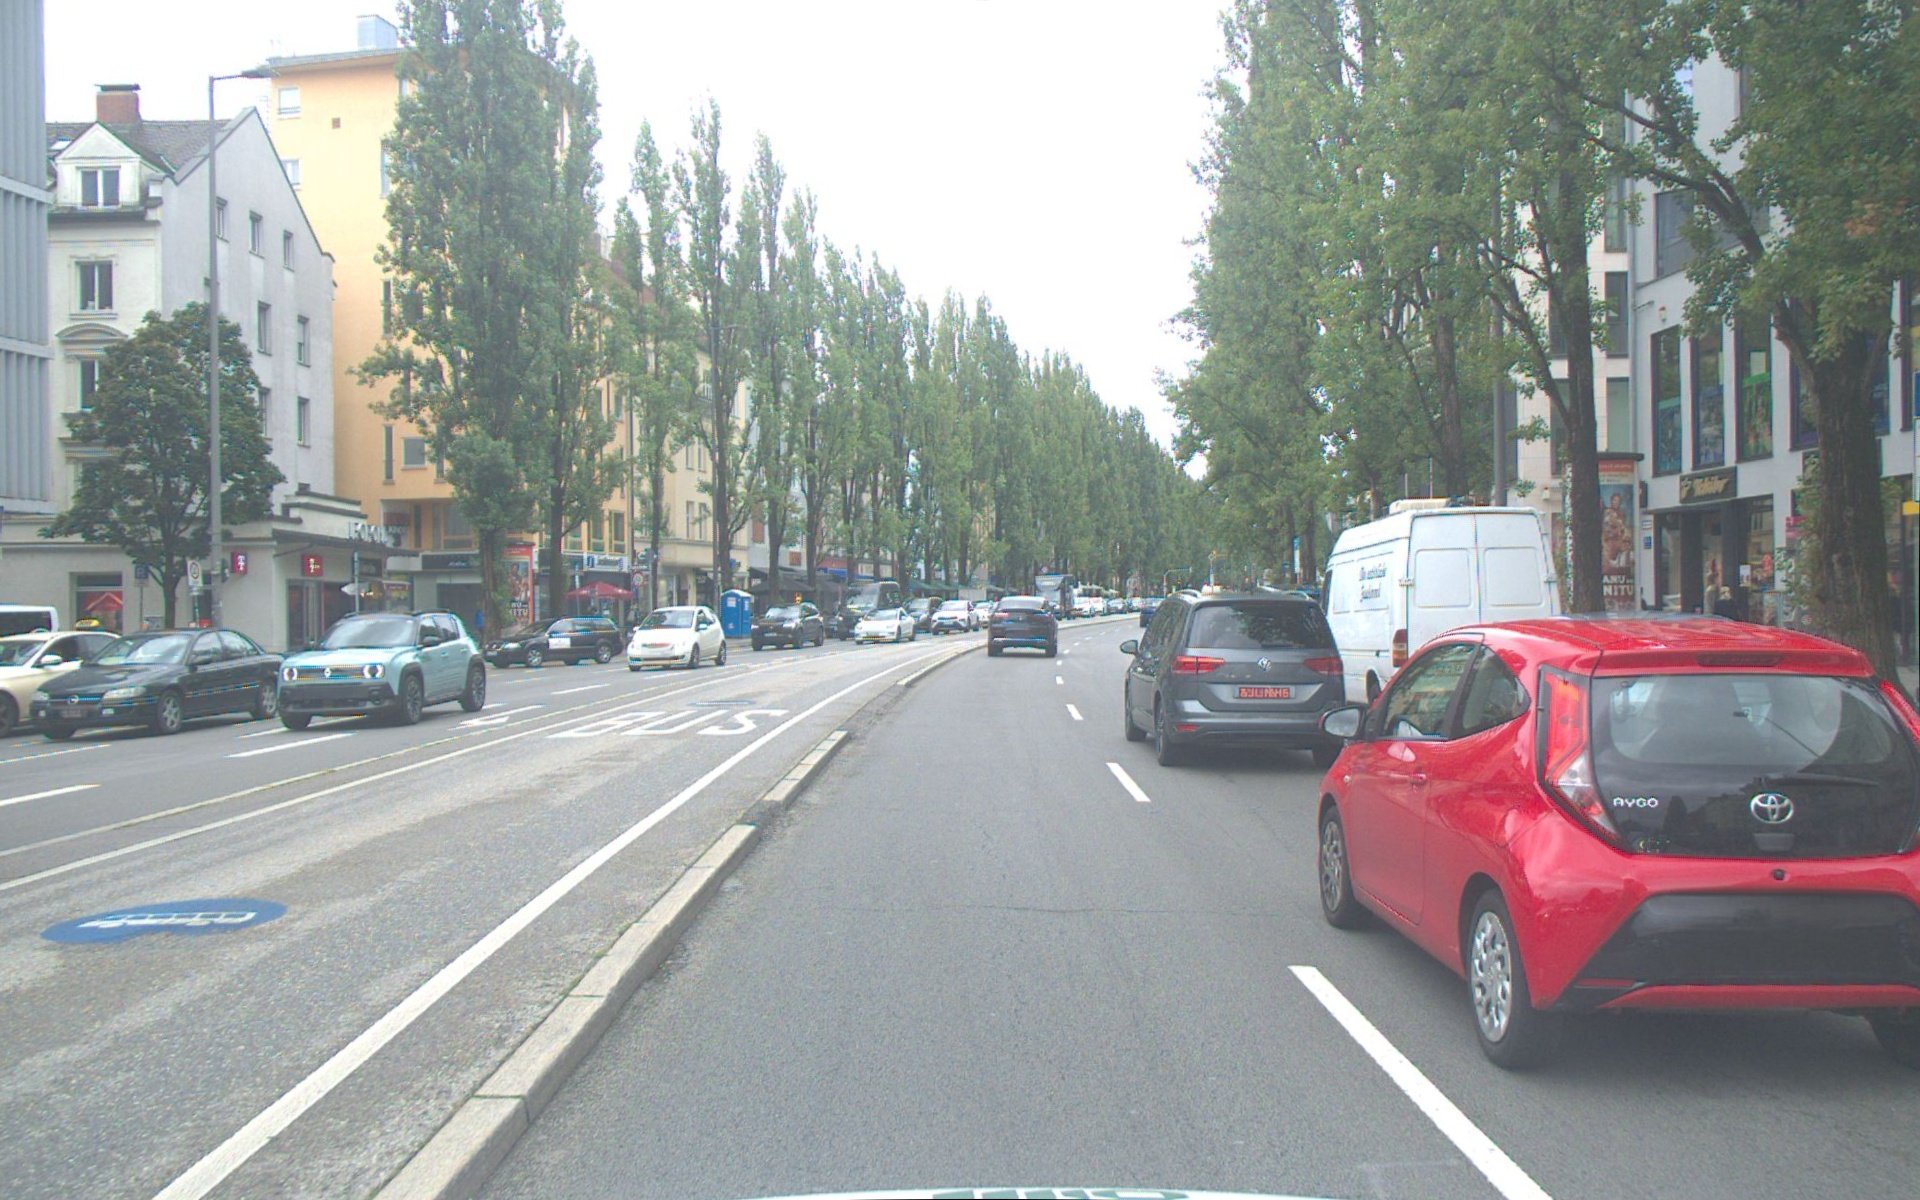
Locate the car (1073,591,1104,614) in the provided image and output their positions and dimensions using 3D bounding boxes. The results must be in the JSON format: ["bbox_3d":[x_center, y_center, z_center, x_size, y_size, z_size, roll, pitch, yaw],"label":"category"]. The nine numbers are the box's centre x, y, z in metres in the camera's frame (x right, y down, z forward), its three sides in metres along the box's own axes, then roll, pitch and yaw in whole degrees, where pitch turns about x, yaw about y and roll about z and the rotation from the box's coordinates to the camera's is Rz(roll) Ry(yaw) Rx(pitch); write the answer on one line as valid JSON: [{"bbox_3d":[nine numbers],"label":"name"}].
[{"bbox_3d":[10.113,0.160,129.791,1.820,1.741,4.540,-2,0,11],"label":"car"}]

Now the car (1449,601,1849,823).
[{"bbox_3d":[5.333,0.766,13.416,1.689,1.479,4.149,1,0,3],"label":"car"}]

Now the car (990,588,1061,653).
[{"bbox_3d":[1.827,0.546,46.054,1.841,1.670,4.584,-1,0,2],"label":"car"}]

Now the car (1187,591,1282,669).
[{"bbox_3d":[6.375,0.664,38.824,1.691,1.716,4.410,0,0,3],"label":"car"}]

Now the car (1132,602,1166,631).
[{"bbox_3d":[10.864,0.949,94.771,1.721,1.648,3.750,0,-1,10],"label":"car"}]

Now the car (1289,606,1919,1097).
[{"bbox_3d":[2.549,0.784,6.797,1.631,1.471,3.595,1,-1,-1],"label":"car"}]

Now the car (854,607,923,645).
[{"bbox_3d":[-2.946,1.060,68.922,1.761,1.419,4.694,-1,0,11],"label":"car"}]

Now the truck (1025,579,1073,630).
[{"bbox_3d":[6.287,0.321,115.501,2.242,3.381,7.163,-2,0,11],"label":"truck"}]

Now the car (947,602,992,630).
[{"bbox_3d":[0.635,0.991,104.738,1.951,1.680,4.640,-2,0,11],"label":"car"}]

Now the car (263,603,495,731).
[{"bbox_3d":[-8.200,0.884,23.755,1.780,1.572,4.000,-3,0,1],"label":"car"}]

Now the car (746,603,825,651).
[{"bbox_3d":[-6.836,1.036,65.393,1.975,1.746,4.986,-1,0,7],"label":"car"}]

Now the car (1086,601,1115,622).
[{"bbox_3d":[11.852,0.977,139.148,1.898,1.671,4.467,-2,0,11],"label":"car"}]

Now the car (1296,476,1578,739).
[{"bbox_3d":[5.675,0.110,20.493,1.952,2.789,5.555,1,-1,1],"label":"car"}]

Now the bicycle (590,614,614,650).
[{"bbox_3d":[-12.546,1.114,58.021,0.360,1.222,1.155,-1,0,12],"label":"bicycle"}]

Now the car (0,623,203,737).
[{"bbox_3d":[-13.824,1.185,24.742,1.817,1.495,4.986,-3,0,13],"label":"car"}]

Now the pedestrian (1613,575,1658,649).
[{"bbox_3d":[14.819,0.260,36.304,0.668,1.585,0.750,-1,0,1],"label":"pedestrian"}]

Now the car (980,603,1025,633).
[{"bbox_3d":[2.569,1.036,97.992,1.951,1.616,5.200,-3,0,9],"label":"car"}]

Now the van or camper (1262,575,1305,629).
[{"bbox_3d":[19.887,0.118,101.653,2.408,3.166,4.719,-2,0,12],"label":"van or camper"}]

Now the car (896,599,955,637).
[{"bbox_3d":[-1.820,0.949,89.420,1.951,1.896,5.716,-3,0,11],"label":"car"}]

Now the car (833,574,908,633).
[{"bbox_3d":[-4.167,0.139,78.340,2.123,2.651,6.069,-1,0,10],"label":"car"}]

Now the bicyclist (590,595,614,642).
[{"bbox_3d":[-12.559,0.634,58.037,0.491,1.620,0.835,-1,0,12],"label":"bicyclist"}]

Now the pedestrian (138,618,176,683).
[{"bbox_3d":[-18.983,1.187,39.092,0.534,1.521,0.656,-1,0,3],"label":"pedestrian"}]

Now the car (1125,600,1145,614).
[{"bbox_3d":[17.901,0.713,169.112,1.675,1.439,3.726,-1,0,11],"label":"car"}]

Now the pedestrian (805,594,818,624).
[{"bbox_3d":[-9.514,0.574,105.717,0.624,1.894,0.648,-1,0,12],"label":"pedestrian"}]

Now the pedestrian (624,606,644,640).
[{"bbox_3d":[-15.490,1.068,78.538,0.620,1.589,0.816,-1,0,13],"label":"pedestrian"}]

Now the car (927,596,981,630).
[{"bbox_3d":[-0.278,0.625,82.664,1.869,1.631,4.359,-1,0,10],"label":"car"}]

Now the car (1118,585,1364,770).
[{"bbox_3d":[2.708,0.689,16.826,1.725,1.642,4.183,0,0,-1],"label":"car"}]

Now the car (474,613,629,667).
[{"bbox_3d":[-12.437,1.209,50.616,1.888,1.464,4.494,-2,0,33],"label":"car"}]

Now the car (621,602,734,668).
[{"bbox_3d":[-7.359,0.876,43.476,1.912,1.617,4.003,-1,0,5],"label":"car"}]

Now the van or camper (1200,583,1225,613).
[{"bbox_3d":[22.505,-0.165,147.282,1.991,2.519,4.003,-1,-2,12],"label":"van or camper"}]

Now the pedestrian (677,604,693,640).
[{"bbox_3d":[-13.913,1.105,83.655,0.527,1.777,0.756,0,0,12],"label":"pedestrian"}]

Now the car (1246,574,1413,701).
[{"bbox_3d":[5.834,0.555,26.669,1.888,1.836,4.782,1,0,4],"label":"car"}]

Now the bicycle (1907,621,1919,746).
[{"bbox_3d":[9.237,0.801,15.213,0.467,1.180,1.826,0,0,15],"label":"bicycle"}]

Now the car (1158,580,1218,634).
[{"bbox_3d":[7.608,0.256,55.181,1.884,1.730,4.653,0,-1,8],"label":"car"}]

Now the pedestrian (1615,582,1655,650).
[{"bbox_3d":[16.385,0.386,40.170,0.555,1.603,0.672,-1,0,-24],"label":"pedestrian"}]

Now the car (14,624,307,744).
[{"bbox_3d":[-11.308,1.128,23.812,1.693,1.433,4.690,-1,0,3],"label":"car"}]

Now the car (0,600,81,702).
[{"bbox_3d":[-20.453,1.054,33.574,1.951,2.049,5.116,-1,0,8],"label":"car"}]

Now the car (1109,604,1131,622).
[{"bbox_3d":[14.826,1.255,153.018,1.631,1.624,4.003,0,-1,11],"label":"car"}]
